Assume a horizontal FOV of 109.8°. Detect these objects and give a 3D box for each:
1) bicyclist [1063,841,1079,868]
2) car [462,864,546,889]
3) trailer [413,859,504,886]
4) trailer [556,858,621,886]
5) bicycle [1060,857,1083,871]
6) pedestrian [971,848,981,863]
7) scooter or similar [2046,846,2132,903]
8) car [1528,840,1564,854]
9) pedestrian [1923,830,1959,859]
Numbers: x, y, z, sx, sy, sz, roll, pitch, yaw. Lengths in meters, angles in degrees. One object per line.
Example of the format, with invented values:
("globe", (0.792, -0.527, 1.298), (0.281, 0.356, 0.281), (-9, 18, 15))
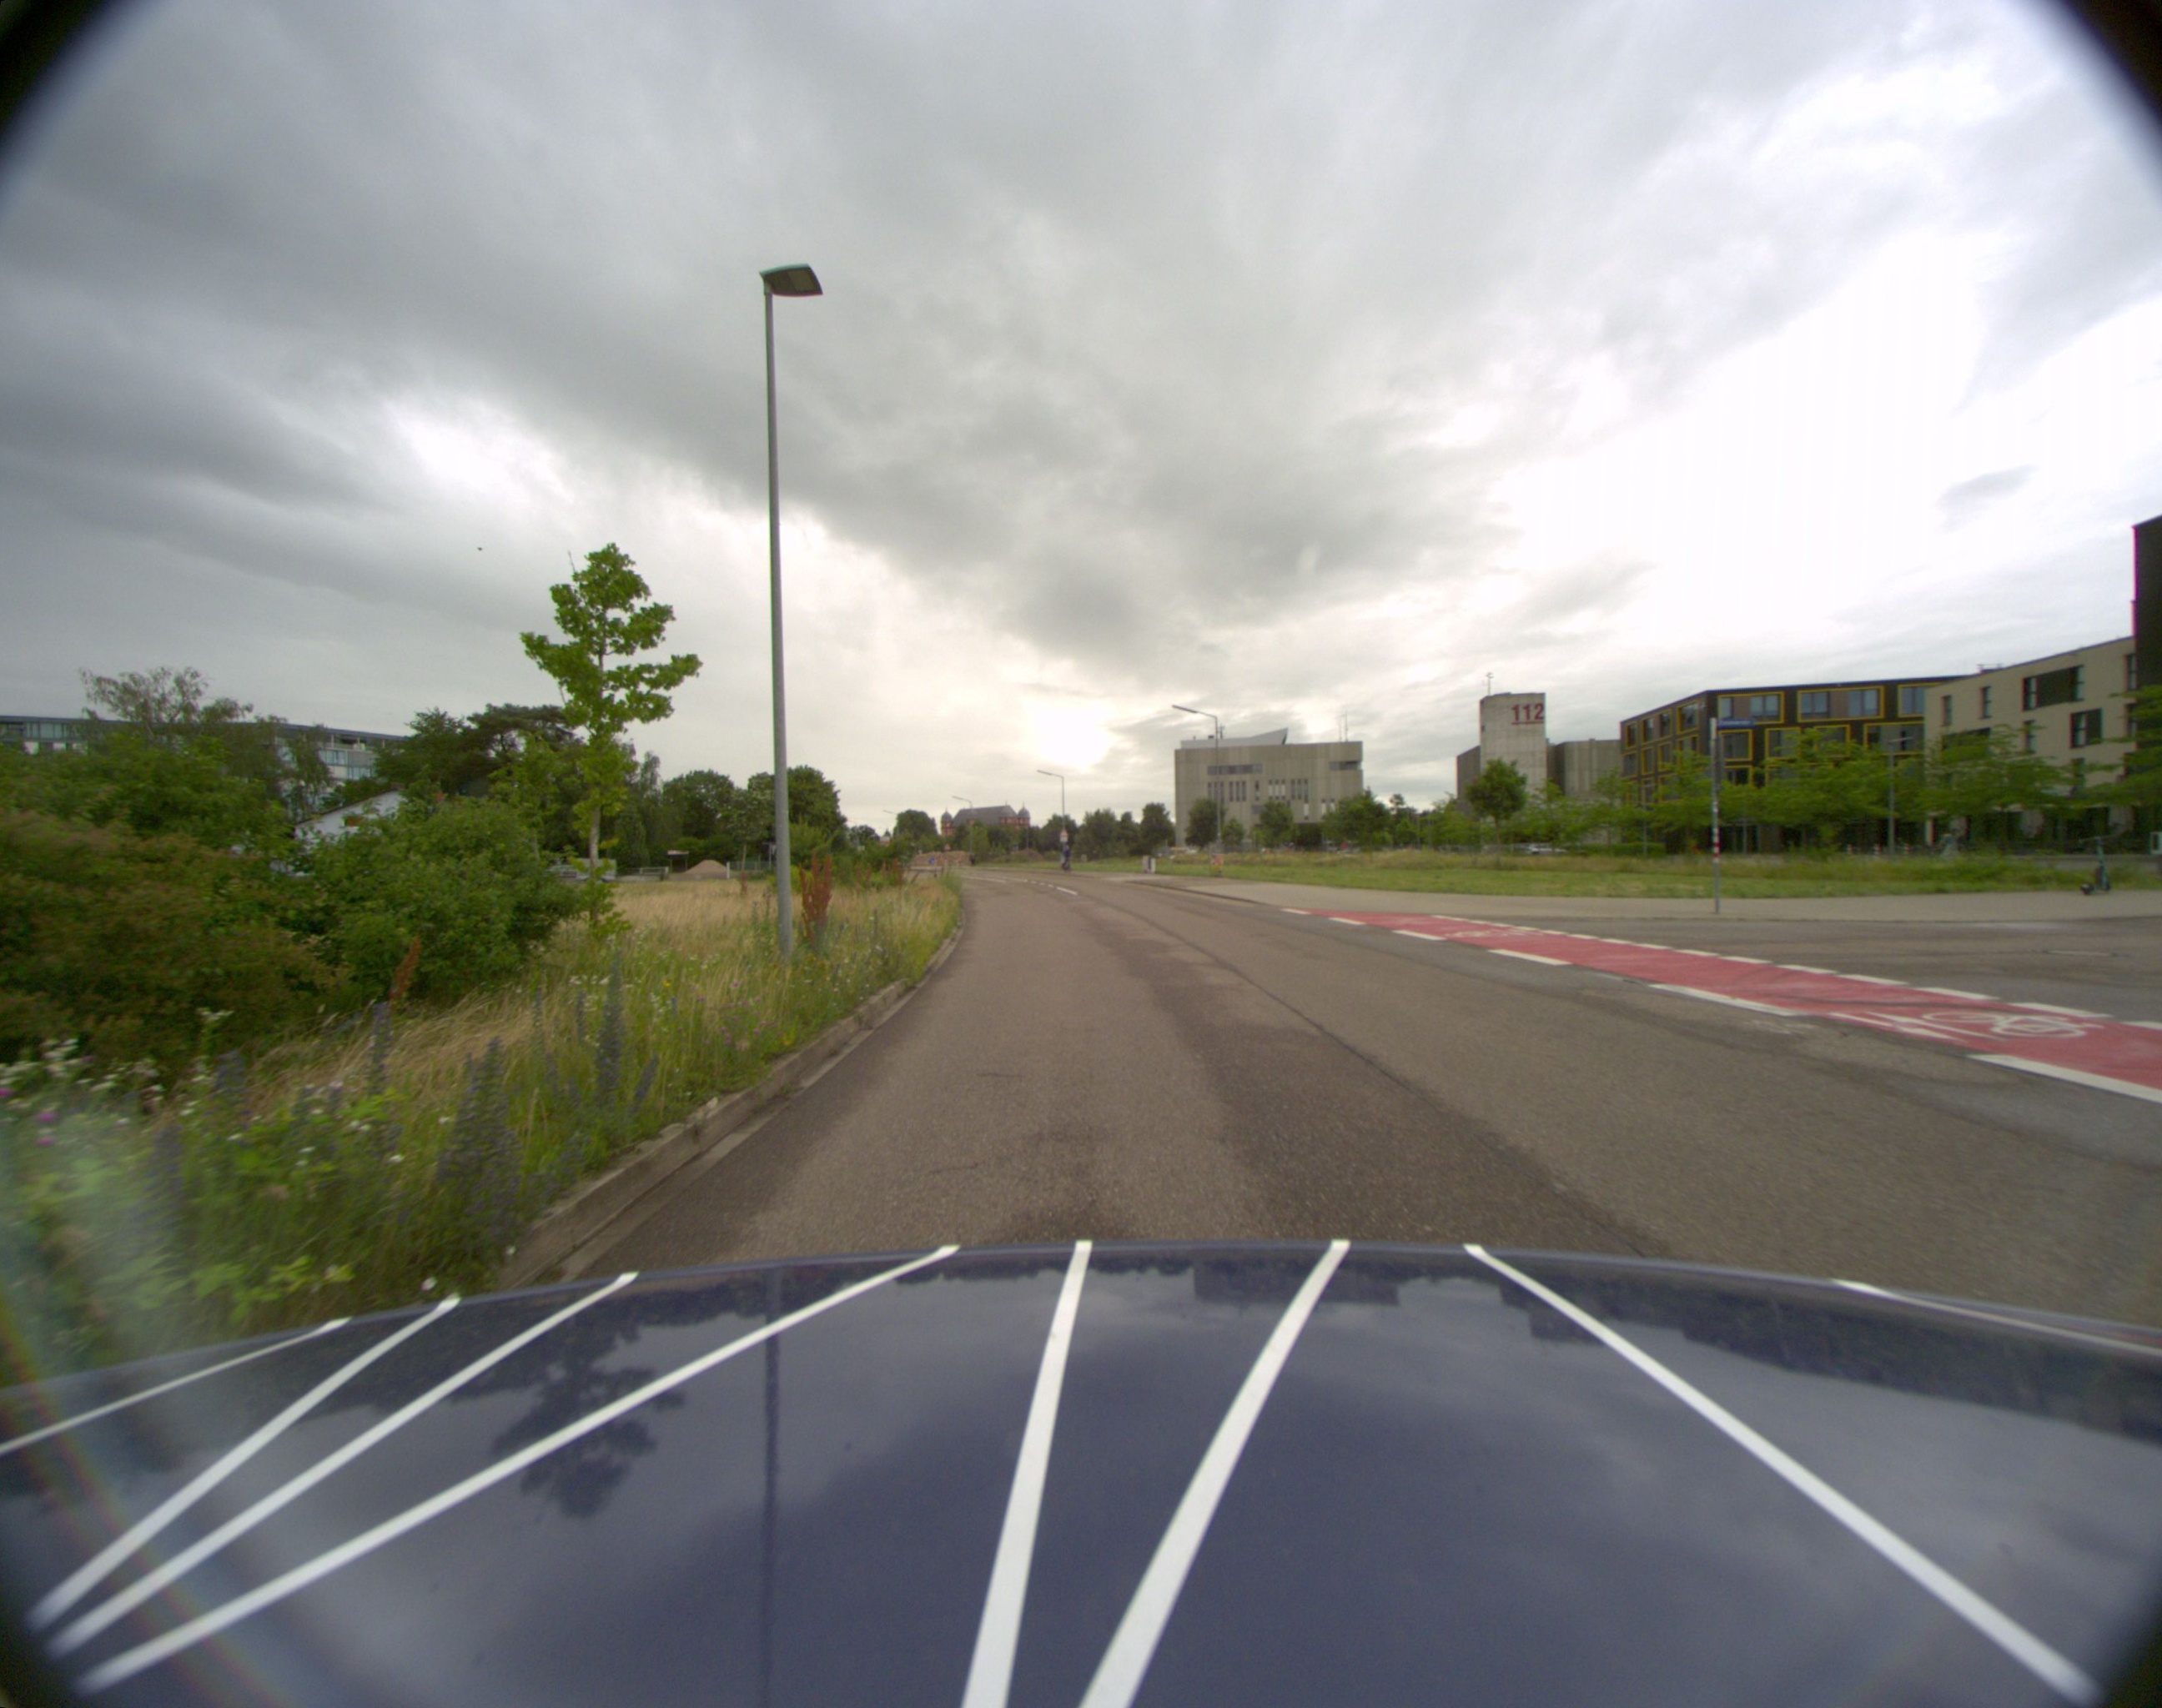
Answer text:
("bicyclist", (-0.749, 0.042, 56.992), (0.865, 2.002, 1.175), (-1, 0, -20))
("car", (-42.069, 1.627, 55.513), (4.600, 1.630, 1.996), (-1, 0, -29))
("trailer", (-38.876, 1.143, 47.584), (4.126, 1.523, 1.754), (-1, 0, -31))
("trailer", (-37.773, 1.339, 58.391), (4.005, 2.002, 1.640), (-1, 0, -29))
("bicycle", (-0.716, 0.750, 56.970), (0.887, 1.046, 2.465), (-1, 0, -20))
("pedestrian", (-12.914, 0.209, 93.196), (0.848, 1.772, 1.075), (-1, 0, -30))
("scooter or similar", (22.088, 0.431, 16.661), (1.468, 1.161, 0.571), (-2, 1, -12))
("car", (51.972, -0.754, 85.037), (1.997, 1.514, 4.003), (0, -1, 8))
("pedestrian", (46.728, -0.500, 41.270), (0.953, 1.561, 0.875), (-1, 0, -4))
